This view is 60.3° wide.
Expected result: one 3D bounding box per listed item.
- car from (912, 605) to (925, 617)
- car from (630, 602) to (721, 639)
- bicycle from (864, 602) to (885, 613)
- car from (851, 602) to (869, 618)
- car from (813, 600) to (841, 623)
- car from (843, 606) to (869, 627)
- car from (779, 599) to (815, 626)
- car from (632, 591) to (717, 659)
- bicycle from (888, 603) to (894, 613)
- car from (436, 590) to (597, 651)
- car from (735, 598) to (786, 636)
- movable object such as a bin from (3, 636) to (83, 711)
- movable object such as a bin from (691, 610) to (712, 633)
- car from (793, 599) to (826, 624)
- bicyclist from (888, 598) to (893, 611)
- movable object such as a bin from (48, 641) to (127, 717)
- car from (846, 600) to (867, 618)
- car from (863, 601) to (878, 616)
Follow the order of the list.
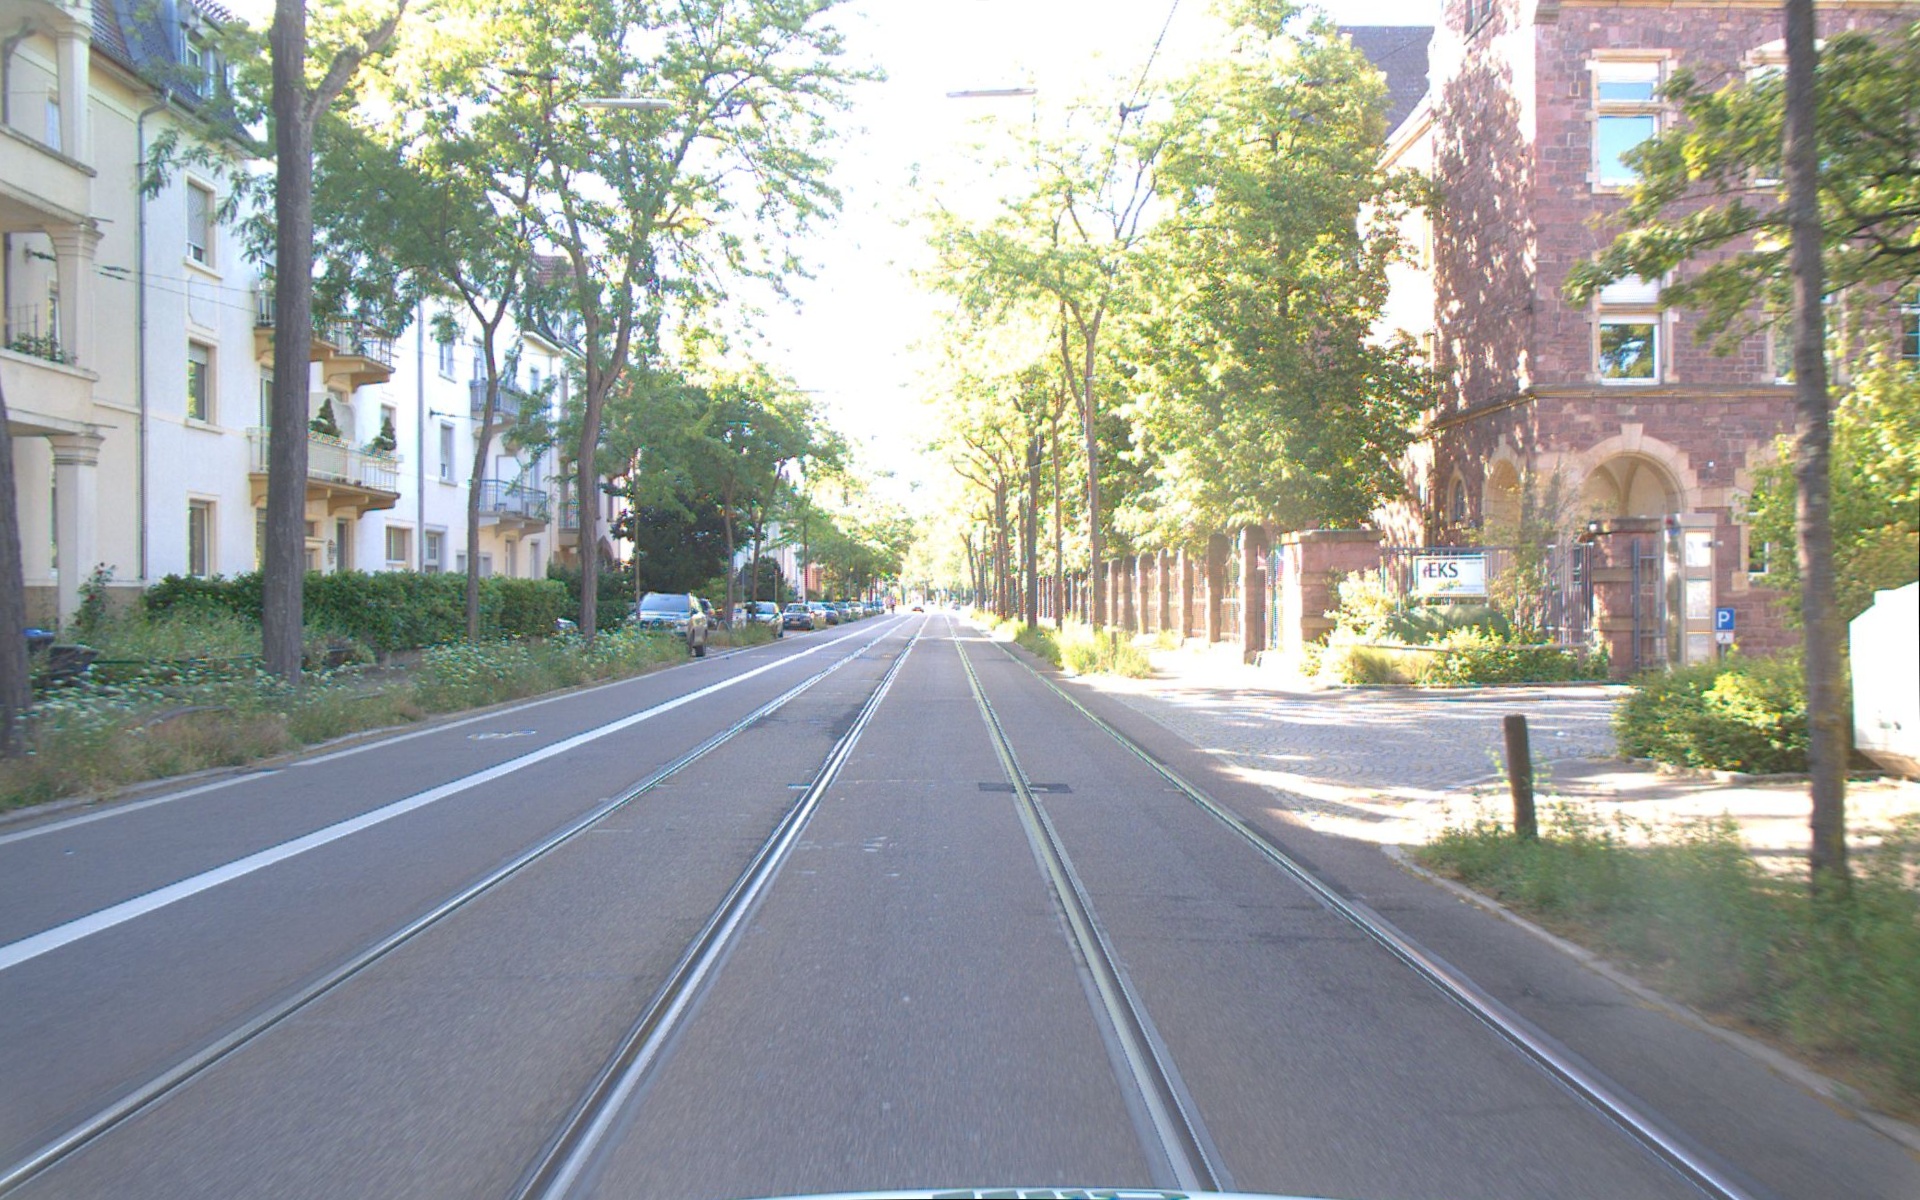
[{"bbox_3d":[-5.492,1.446,218.660,1.722,1.464,4.522,0,0,-2],"label":"car"},{"bbox_3d":[-13.743,0.981,80.145,4.082,1.688,1.982,1,0,-2],"label":"car"},{"bbox_3d":[-9.873,0.857,190.949,2.236,1.219,0.560,2,0,6],"label":"bicycle"},{"bbox_3d":[-9.741,0.966,161.413,1.653,1.511,3.758,2,0,-2],"label":"car"},{"bbox_3d":[-9.219,0.795,114.637,1.722,1.537,4.437,1,0,-2],"label":"car"},{"bbox_3d":[-8.025,1.280,127.862,1.780,1.511,4.205,1,0,-1],"label":"car"},{"bbox_3d":[-9.091,0.680,92.629,1.671,1.431,4.332,1,0,-2],"label":"car"},{"bbox_3d":[-8.249,0.681,48.100,1.833,1.855,4.769,1,0,-3],"label":"car"},{"bbox_3d":[-8.603,1.030,205.263,0.614,1.198,1.913,-3,0,-1],"label":"bicycle"},{"bbox_3d":[-13.202,0.594,49.369,4.212,1.690,1.953,1,0,0],"label":"car"},{"bbox_3d":[-8.845,0.738,73.760,1.740,1.568,4.485,1,0,-1],"label":"car"},{"bbox_3d":[-12.050,0.959,21.749,0.615,0.937,0.740,1,0,-1],"label":"movable object such as a bin"},{"bbox_3d":[-12.120,1.011,77.488,0.857,1.084,0.814,0,0,-1],"label":"movable object such as a bin"},{"bbox_3d":[-9.492,0.718,104.504,1.780,1.537,4.369,1,0,-2],"label":"car"},{"bbox_3d":[-8.624,0.561,205.194,0.613,1.668,0.940,-3,0,-1],"label":"bicyclist"},{"bbox_3d":[-11.363,1.019,21.566,0.615,0.937,0.740,1,0,-1],"label":"movable object such as a bin"},{"bbox_3d":[-9.616,0.825,153.809,1.668,1.511,4.078,3,0,-1],"label":"car"},{"bbox_3d":[-9.282,0.906,171.580,1.529,1.482,3.928,2,0,-3],"label":"car"}]
